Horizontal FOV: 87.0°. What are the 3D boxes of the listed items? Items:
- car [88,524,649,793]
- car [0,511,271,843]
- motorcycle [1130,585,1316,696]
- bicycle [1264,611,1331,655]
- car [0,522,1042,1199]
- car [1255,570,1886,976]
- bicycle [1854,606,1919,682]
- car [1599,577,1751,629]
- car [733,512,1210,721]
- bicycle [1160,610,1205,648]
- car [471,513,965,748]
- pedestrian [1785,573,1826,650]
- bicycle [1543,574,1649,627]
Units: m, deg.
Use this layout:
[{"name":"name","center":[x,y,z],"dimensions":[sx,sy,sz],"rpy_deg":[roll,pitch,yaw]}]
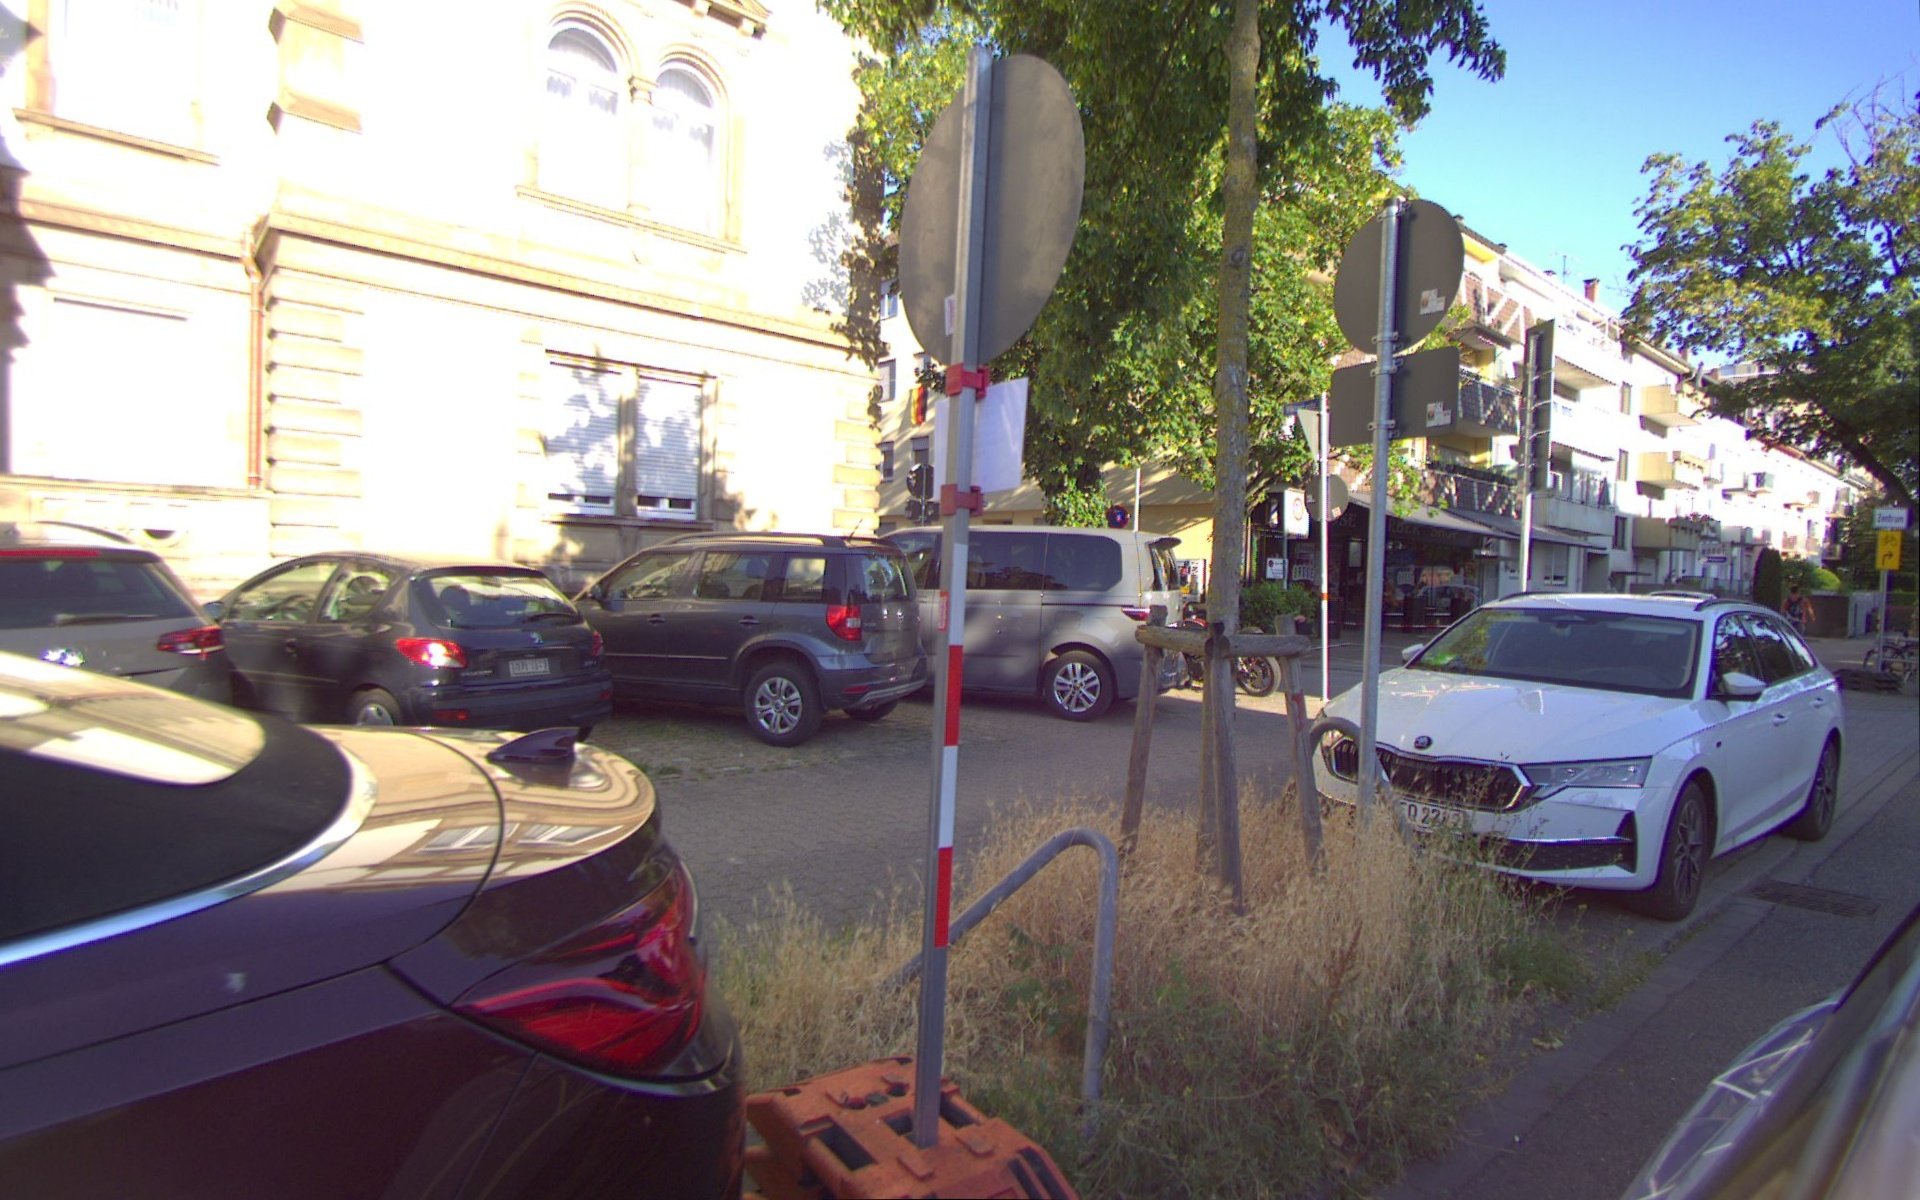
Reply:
[{"name":"car","center":[-4.482,0.261,7.581],"dimensions":[4.061,1.458,1.701],"rpy_deg":[4,2,27]},{"name":"car","center":[-6.073,0.222,5.965],"dimensions":[4.220,1.529,1.772],"rpy_deg":[4,3,32]},{"name":"motorcycle","center":[3.315,0.463,12.896],"dimensions":[2.153,1.255,0.778],"rpy_deg":[2,2,40]},{"name":"bicycle","center":[6.512,0.621,19.491],"dimensions":[1.504,0.777,0.486],"rpy_deg":[0,2,-40]},{"name":"car","center":[-2.170,0.621,0.823],"dimensions":[4.534,1.437,1.761],"rpy_deg":[0,4,-41]},{"name":"car","center":[3.828,0.621,5.951],"dimensions":[4.540,1.496,1.825],"rpy_deg":[0,2,-41]},{"name":"bicycle","center":[15.878,0.752,16.500],"dimensions":[0.602,1.176,1.905],"rpy_deg":[1,3,-13]},{"name":"car","center":[23.542,0.059,33.399],"dimensions":[1.550,1.523,3.869],"rpy_deg":[0,2,-45]},{"name":"car","center":[0.122,0.065,11.099],"dimensions":[4.880,1.923,1.907],"rpy_deg":[2,1,22]},{"name":"bicycle","center":[4.732,0.609,21.541],"dimensions":[0.900,0.752,0.426],"rpy_deg":[2,1,18]},{"name":"car","center":[-2.170,0.151,9.164],"dimensions":[4.050,1.720,1.776],"rpy_deg":[3,2,20]},{"name":"pedestrian","center":[20.209,0.265,24.181],"dimensions":[0.552,1.794,0.619],"rpy_deg":[2,0,-40]},{"name":"bicycle","center":[18.692,-0.001,29.796],"dimensions":[0.912,1.459,2.457],"rpy_deg":[0,2,-42]}]
